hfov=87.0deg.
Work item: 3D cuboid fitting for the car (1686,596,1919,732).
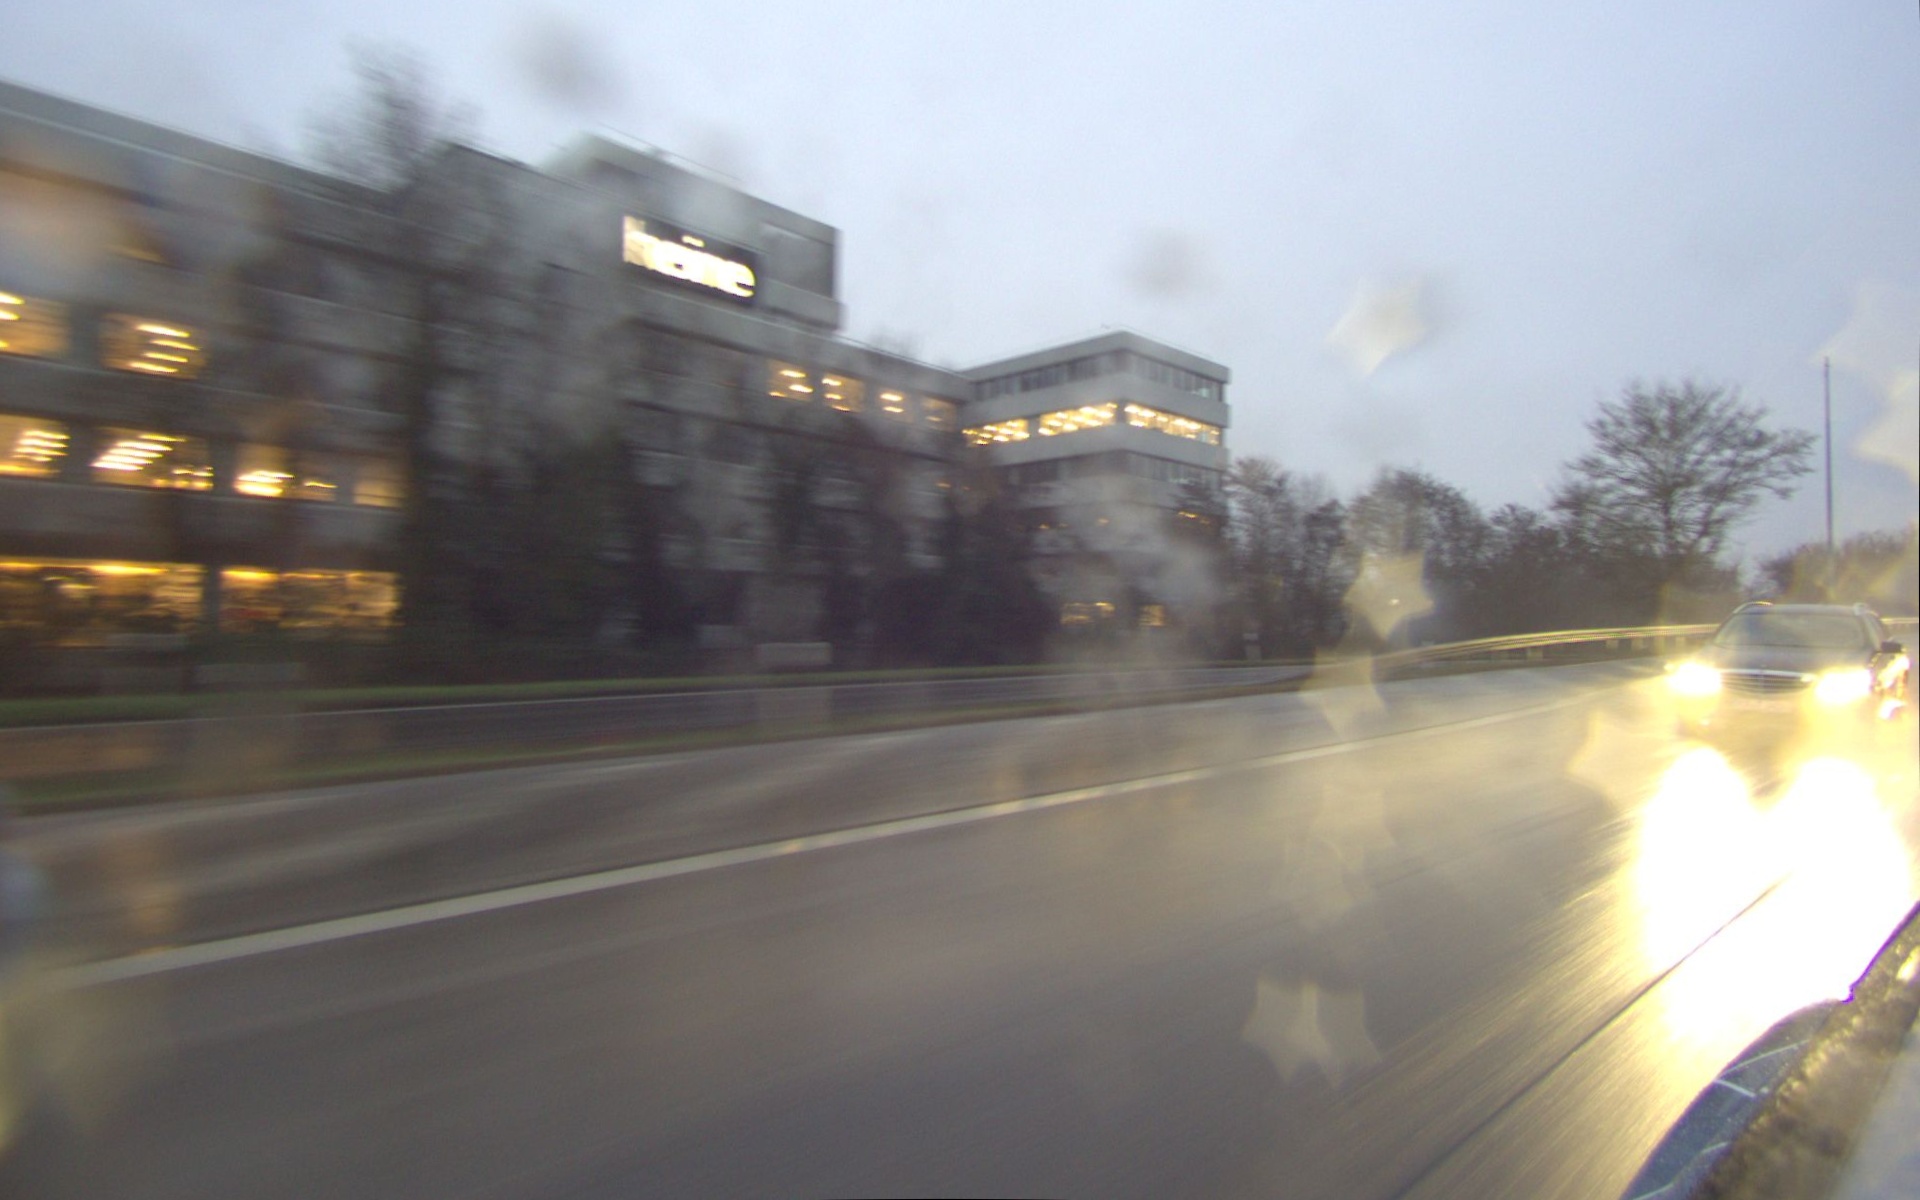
[{"bbox_3d":[10.882,0.704,12.921,4.100,1.472,1.594,1,0,-39],"label":"car"}]

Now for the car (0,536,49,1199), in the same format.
[{"bbox_3d":[-3.788,0.639,1.007,4.186,1.520,1.853,0,0,-40],"label":"car"}]
